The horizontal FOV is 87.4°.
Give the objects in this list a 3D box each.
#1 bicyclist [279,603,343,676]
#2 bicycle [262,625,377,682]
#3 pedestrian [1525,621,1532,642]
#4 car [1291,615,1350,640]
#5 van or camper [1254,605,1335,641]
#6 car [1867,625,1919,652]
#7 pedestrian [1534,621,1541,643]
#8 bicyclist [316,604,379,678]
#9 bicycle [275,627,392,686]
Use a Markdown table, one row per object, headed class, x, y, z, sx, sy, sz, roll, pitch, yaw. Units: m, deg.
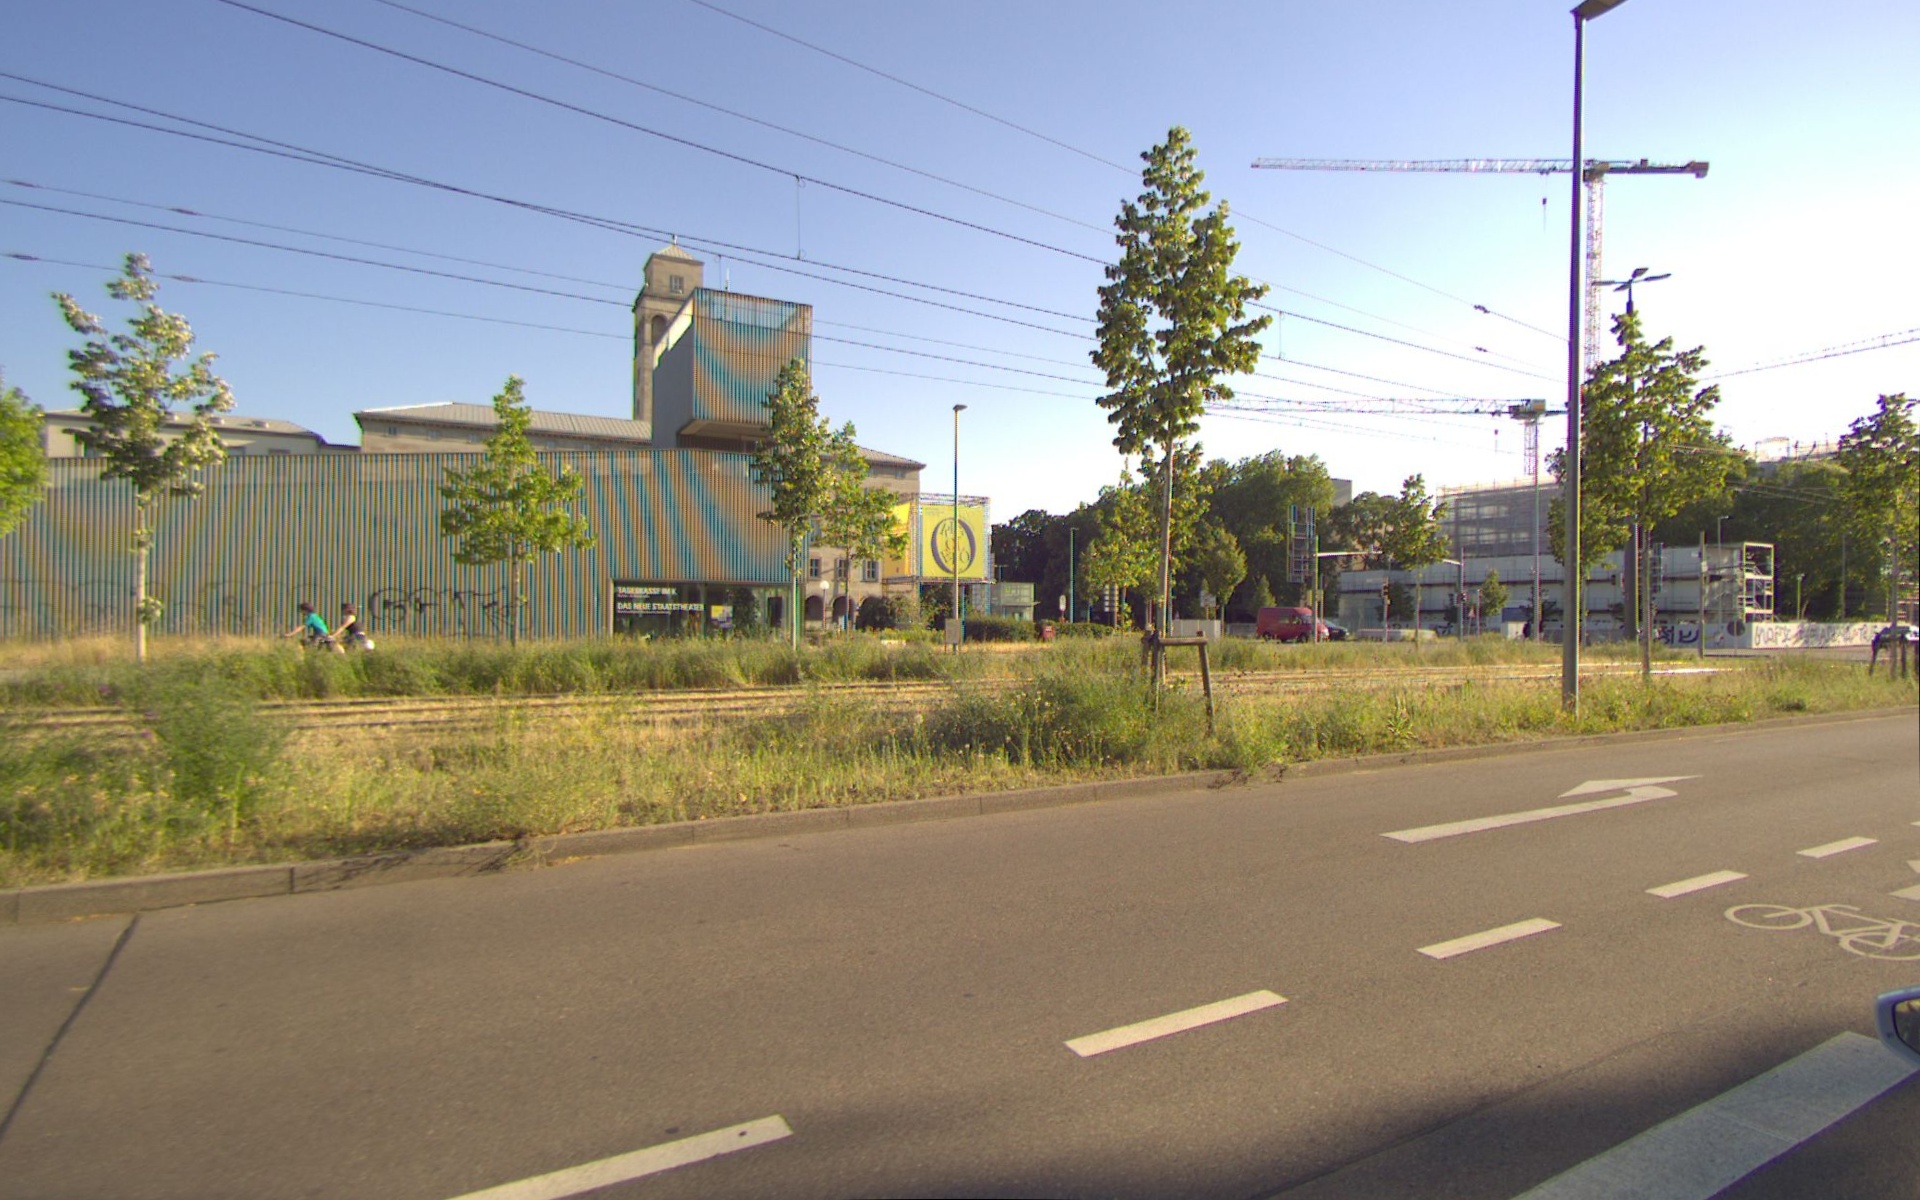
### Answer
| class | x | y | z | sx | sy | sz | roll | pitch | yaw |
| --- | --- | --- | --- | --- | --- | --- | --- | --- | --- |
| bicyclist | -13.310 | 0.797 | 20.620 | 1.063 | 1.461 | 0.581 | 1 | 0 | -30 |
| bicycle | -13.155 | 1.090 | 20.698 | 1.964 | 1.119 | 0.581 | 1 | 0 | -31 |
| pedestrian | 39.725 | 2.183 | 70.168 | 0.276 | 1.484 | 0.272 | 1 | 0 | -28 |
| car | 26.677 | 2.039 | 74.451 | 1.779 | 1.782 | 4.000 | 1 | -1 | -28 |
| van or camper | 24.052 | 1.626 | 72.509 | 2.128 | 2.446 | 5.637 | 1 | -1 | -28 |
| car | 63.429 | 2.575 | 67.977 | 3.954 | 1.800 | 1.983 | 1 | -1 | -31 |
| pedestrian | 39.934 | 2.193 | 69.442 | 0.312 | 1.484 | 0.272 | 1 | 0 | -30 |
| bicyclist | -12.368 | 0.818 | 20.314 | 1.063 | 1.461 | 0.581 | 1 | 0 | -30 |
| bicycle | -12.568 | 1.111 | 20.219 | 1.964 | 1.119 | 0.581 | 1 | 0 | -31 |
